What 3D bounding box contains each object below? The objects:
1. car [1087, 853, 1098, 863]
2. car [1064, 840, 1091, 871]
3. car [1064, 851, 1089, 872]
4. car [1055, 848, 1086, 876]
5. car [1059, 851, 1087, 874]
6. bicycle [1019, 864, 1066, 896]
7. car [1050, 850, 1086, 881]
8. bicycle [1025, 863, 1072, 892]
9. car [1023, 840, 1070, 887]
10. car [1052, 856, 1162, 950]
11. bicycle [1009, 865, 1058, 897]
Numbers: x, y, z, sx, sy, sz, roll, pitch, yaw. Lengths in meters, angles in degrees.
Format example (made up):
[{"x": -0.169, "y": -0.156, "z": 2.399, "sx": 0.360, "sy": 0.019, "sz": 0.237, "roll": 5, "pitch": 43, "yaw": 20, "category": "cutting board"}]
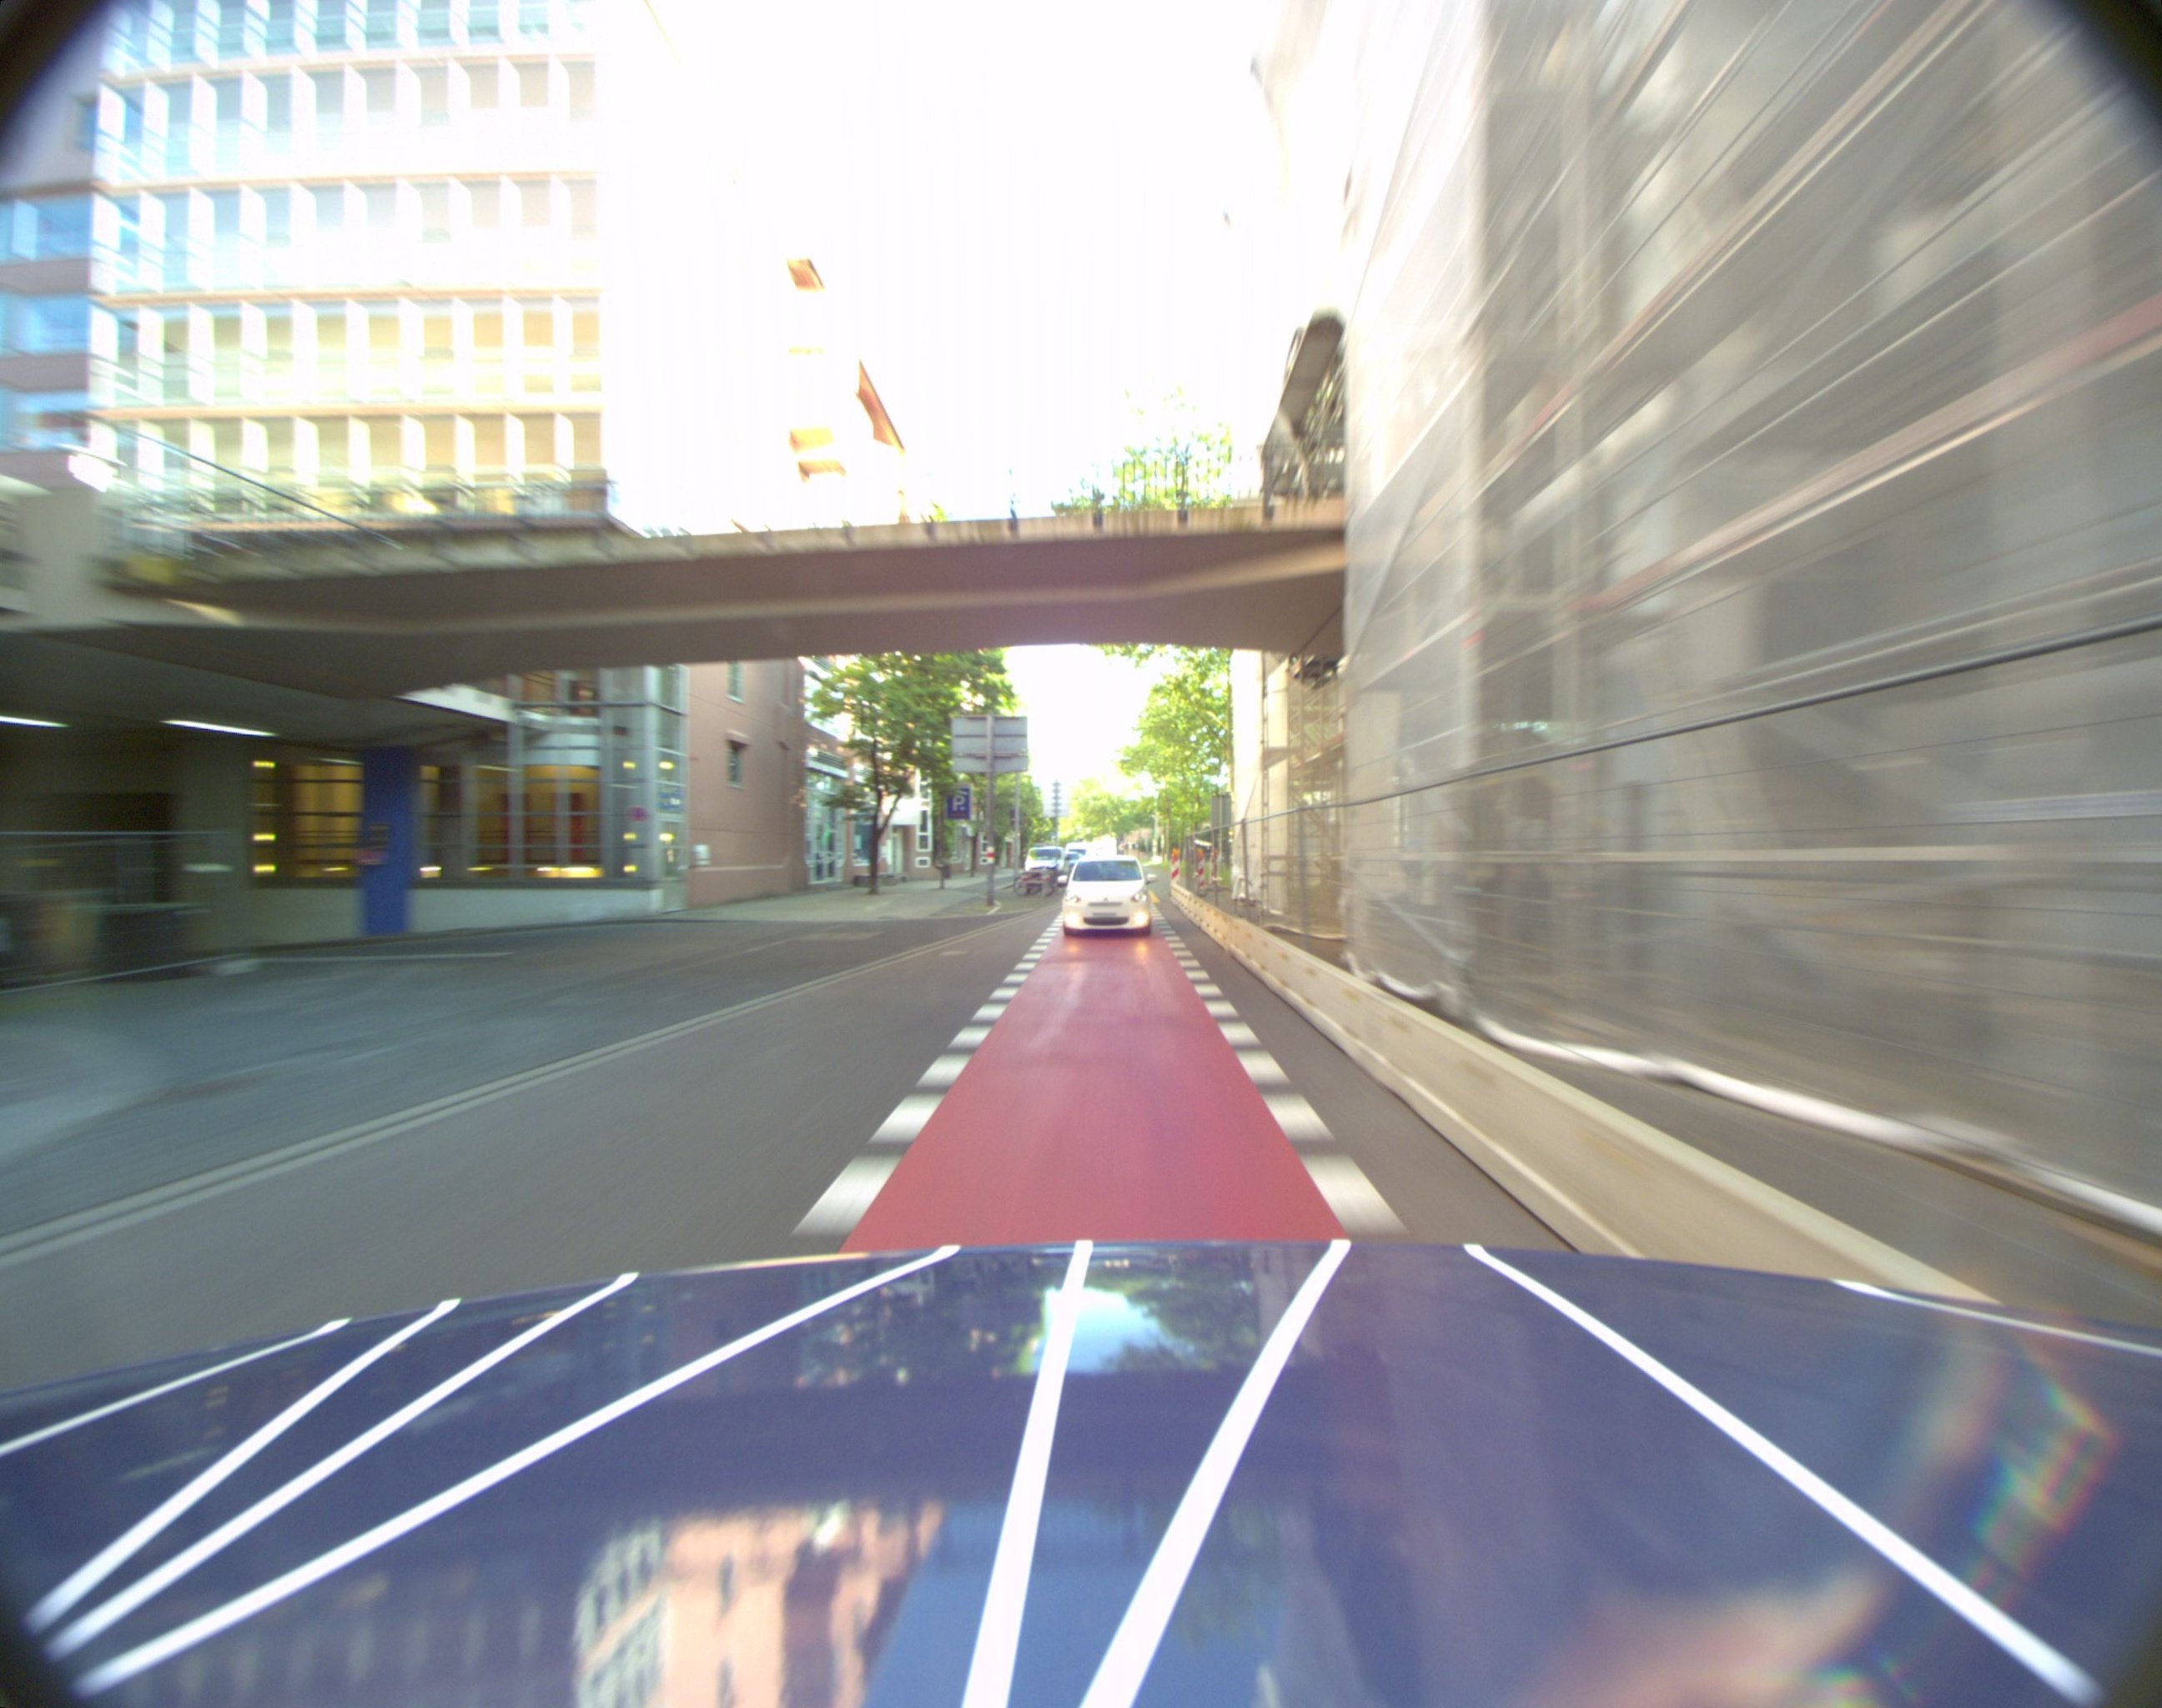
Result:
[{"x": 2.040, "y": 0.730, "z": 134.670, "sx": 1.998, "sy": 1.524, "sz": 4.000, "roll": -2, "pitch": 1, "yaw": 1, "category": "car"}, {"x": -0.281, "y": 0.128, "z": 66.644, "sx": 2.120, "sy": 2.550, "sz": 5.905, "roll": 0, "pitch": 0, "yaw": 2, "category": "car"}, {"x": -0.308, "y": 0.589, "z": 59.307, "sx": 1.833, "sy": 1.570, "sz": 4.000, "roll": 0, "pitch": 0, "yaw": 1, "category": "car"}, {"x": -0.641, "y": 0.483, "z": 48.135, "sx": 1.792, "sy": 1.660, "sz": 4.440, "roll": 0, "pitch": 0, "yaw": 1, "category": "car"}, {"x": -0.533, "y": 0.560, "z": 54.036, "sx": 1.833, "sy": 1.570, "sz": 4.000, "roll": 0, "pitch": 0, "yaw": 1, "category": "car"}, {"x": -1.336, "y": 0.882, "z": 26.393, "sx": 1.678, "sy": 1.061, "sz": 0.502, "roll": -1, "pitch": 1, "yaw": 36, "category": "bicycle"}, {"x": -0.665, "y": 0.596, "z": 42.413, "sx": 1.792, "sy": 1.660, "sz": 4.200, "roll": 0, "pitch": 0, "yaw": 1, "category": "car"}, {"x": -1.234, "y": 0.875, "z": 28.630, "sx": 1.679, "sy": 1.061, "sz": 0.512, "roll": -1, "pitch": 1, "yaw": 25, "category": "bicycle"}, {"x": -1.578, "y": 0.410, "z": 36.641, "sx": 1.923, "sy": 2.066, "sz": 5.170, "roll": 0, "pitch": 0, "yaw": 1, "category": "car"}, {"x": 0.379, "y": 0.813, "z": 14.544, "sx": 1.808, "sy": 1.492, "sz": 4.199, "roll": 0, "pitch": 0, "yaw": -1, "category": "car"}, {"x": -1.610, "y": 0.890, "z": 25.483, "sx": 1.678, "sy": 1.061, "sz": 0.502, "roll": -1, "pitch": 1, "yaw": 36, "category": "bicycle"}]
